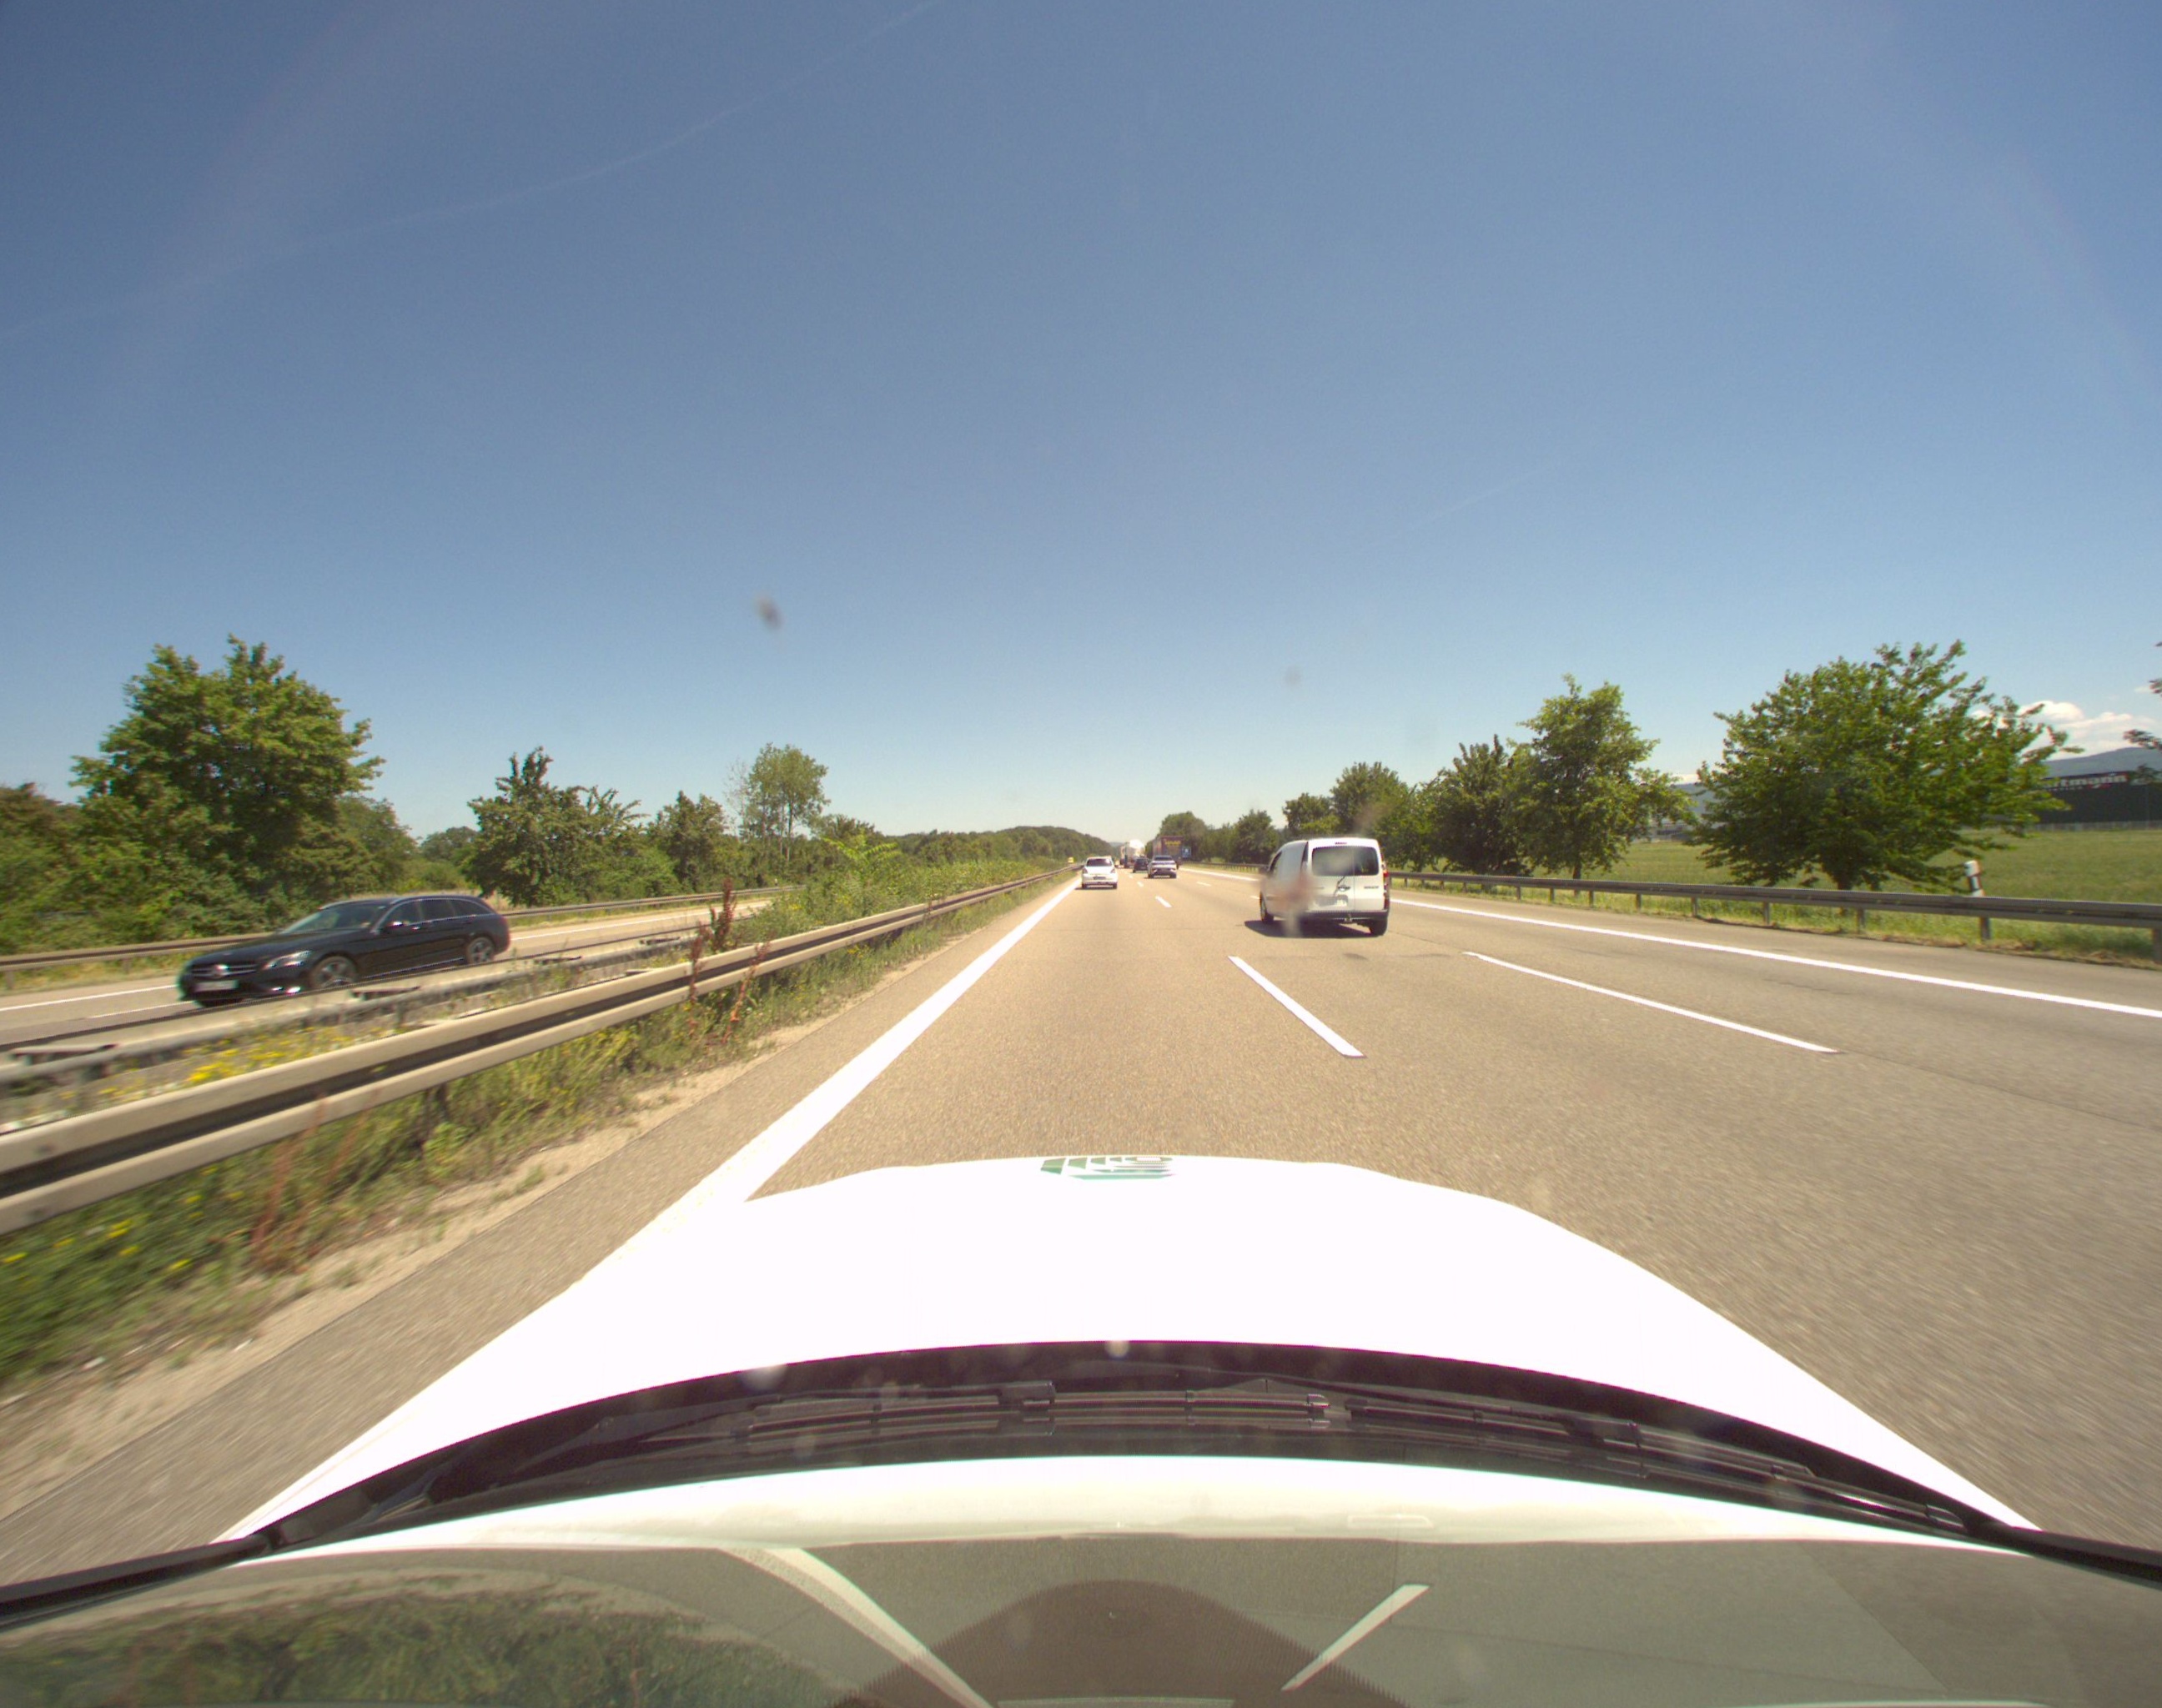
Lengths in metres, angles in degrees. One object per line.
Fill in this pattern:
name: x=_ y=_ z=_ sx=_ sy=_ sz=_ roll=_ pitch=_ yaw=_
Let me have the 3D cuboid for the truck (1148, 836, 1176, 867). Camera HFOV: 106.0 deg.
truck: x=11.100 y=-0.325 z=111.896 sx=3.098 sy=4.139 sz=8.055 roll=0 pitch=0 yaw=0

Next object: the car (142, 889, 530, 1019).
car: x=-11.858 y=1.478 z=13.579 sx=1.950 sy=1.468 sz=4.753 roll=-3 pitch=0 yaw=1

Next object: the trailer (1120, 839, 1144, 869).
trailer: x=7.094 y=0.033 z=113.945 sx=2.900 sy=4.069 sz=12.422 roll=0 pitch=0 yaw=2

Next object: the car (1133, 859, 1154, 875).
car: x=6.048 y=1.207 z=78.954 sx=1.843 sy=1.523 sz=3.959 roll=0 pitch=0 yaw=2

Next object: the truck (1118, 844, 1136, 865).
truck: x=9.346 y=0.118 z=165.735 sx=3.380 sy=4.214 sz=12.091 roll=0 pitch=0 yaw=3

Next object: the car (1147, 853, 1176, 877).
car: x=5.657 y=0.740 z=57.611 sx=1.795 sy=1.603 sz=4.382 roll=0 pitch=0 yaw=2

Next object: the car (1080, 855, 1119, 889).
car: x=0.909 y=0.834 z=39.245 sx=1.793 sy=1.552 sz=3.611 roll=0 pitch=0 yaw=1

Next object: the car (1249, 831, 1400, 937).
car: x=4.778 y=0.537 z=16.715 sx=1.846 sy=1.863 sz=4.704 roll=0 pitch=0 yaw=2

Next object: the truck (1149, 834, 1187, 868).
truck: x=11.065 y=-0.325 z=104.969 sx=3.099 sy=4.139 sz=15.507 roll=0 pitch=0 yaw=0
